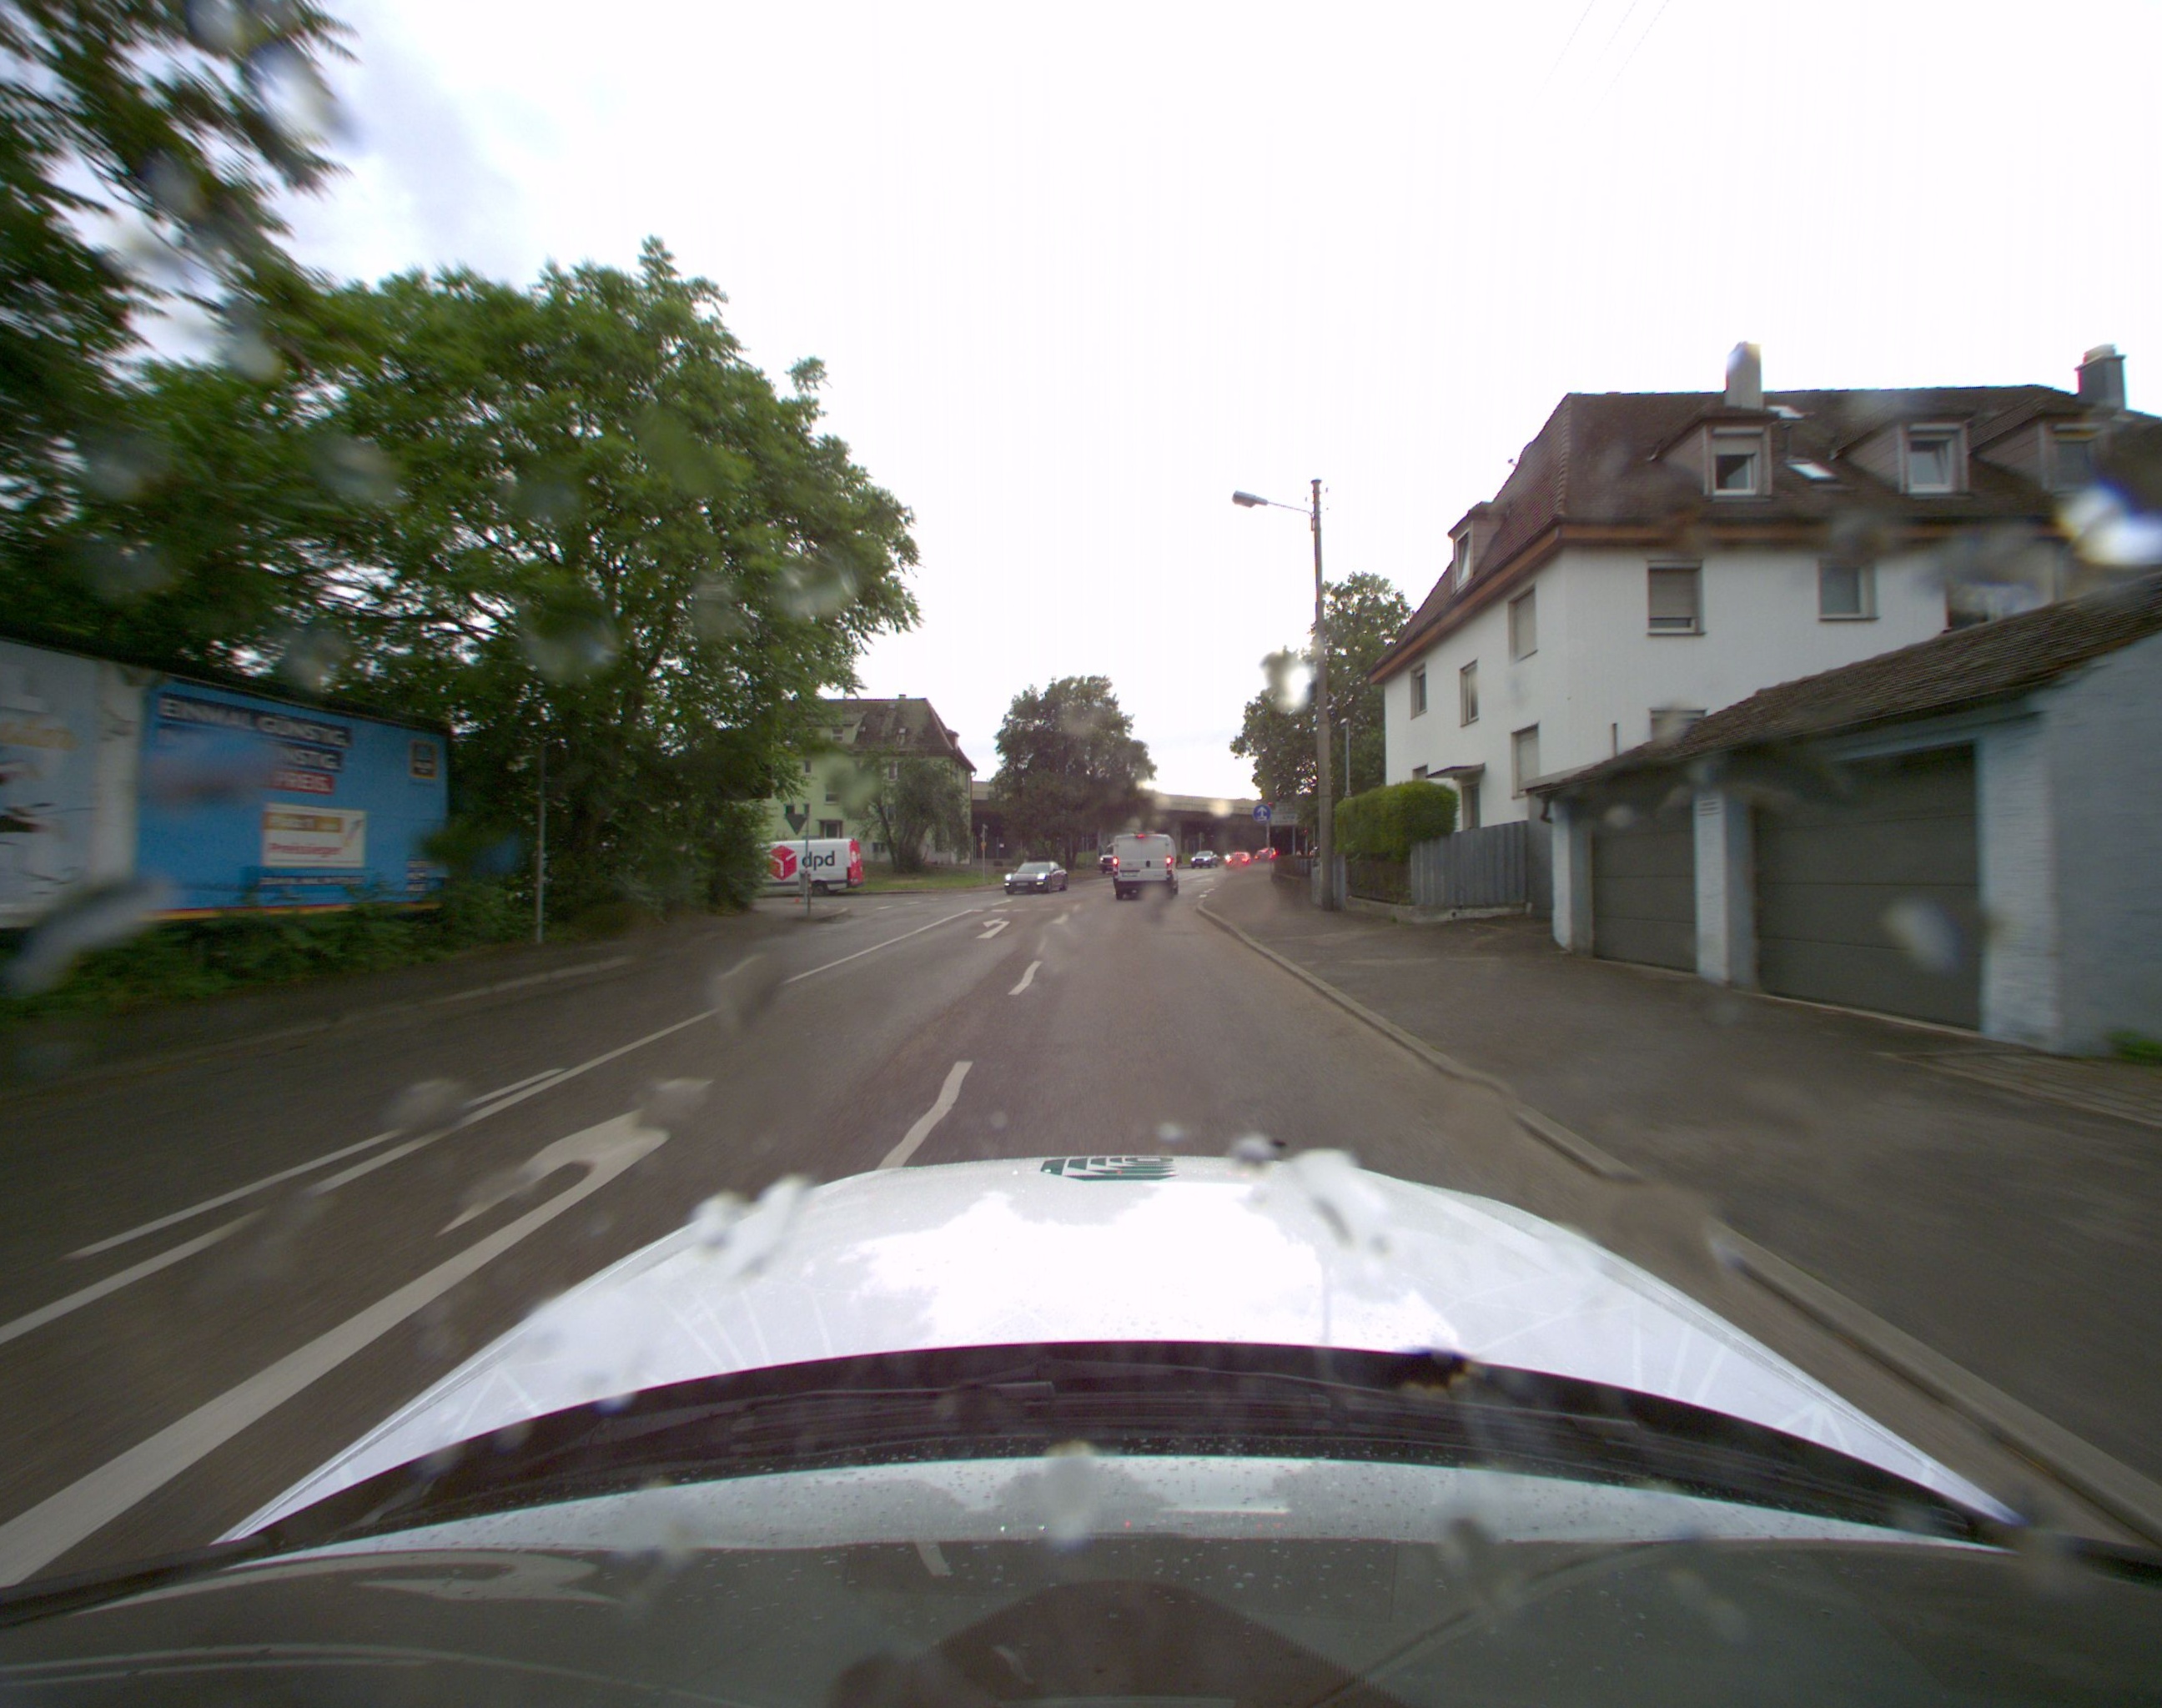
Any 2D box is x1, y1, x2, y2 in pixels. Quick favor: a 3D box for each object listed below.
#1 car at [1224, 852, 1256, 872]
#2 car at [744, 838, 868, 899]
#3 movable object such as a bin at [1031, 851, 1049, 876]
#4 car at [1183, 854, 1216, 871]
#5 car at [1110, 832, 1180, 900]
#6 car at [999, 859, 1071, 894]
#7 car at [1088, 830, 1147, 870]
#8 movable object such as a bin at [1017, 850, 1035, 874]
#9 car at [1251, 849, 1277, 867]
[{"bbox_3d":[12.219,0.583,62.301,1.750,1.511,3.775,-1,0,21],"label":"car"},{"bbox_3d":[-12.894,0.657,38.461,5.029,2.628,2.153,-2,0,0],"label":"car"},{"bbox_3d":[-2.685,0.610,53.296,0.935,1.564,1.132,4,0,6],"label":"movable object such as a bin"},{"bbox_3d":[10.826,0.783,74.126,1.977,1.456,4.852,-2,-1,19],"label":"car"},{"bbox_3d":[2.457,0.395,29.960,2.133,2.283,5.076,-1,0,9],"label":"car"},{"bbox_3d":[-2.000,0.993,37.002,1.980,1.456,4.845,-2,-1,12],"label":"car"},{"bbox_3d":[3.009,-0.313,65.211,2.512,3.018,7.248,-1,0,21],"label":"car"},{"bbox_3d":[-3.684,0.533,54.871,0.935,1.564,1.132,4,0,6],"label":"movable object such as a bin"},{"bbox_3d":[16.691,0.354,74.260,1.750,1.511,3.775,-1,0,21],"label":"car"}]
